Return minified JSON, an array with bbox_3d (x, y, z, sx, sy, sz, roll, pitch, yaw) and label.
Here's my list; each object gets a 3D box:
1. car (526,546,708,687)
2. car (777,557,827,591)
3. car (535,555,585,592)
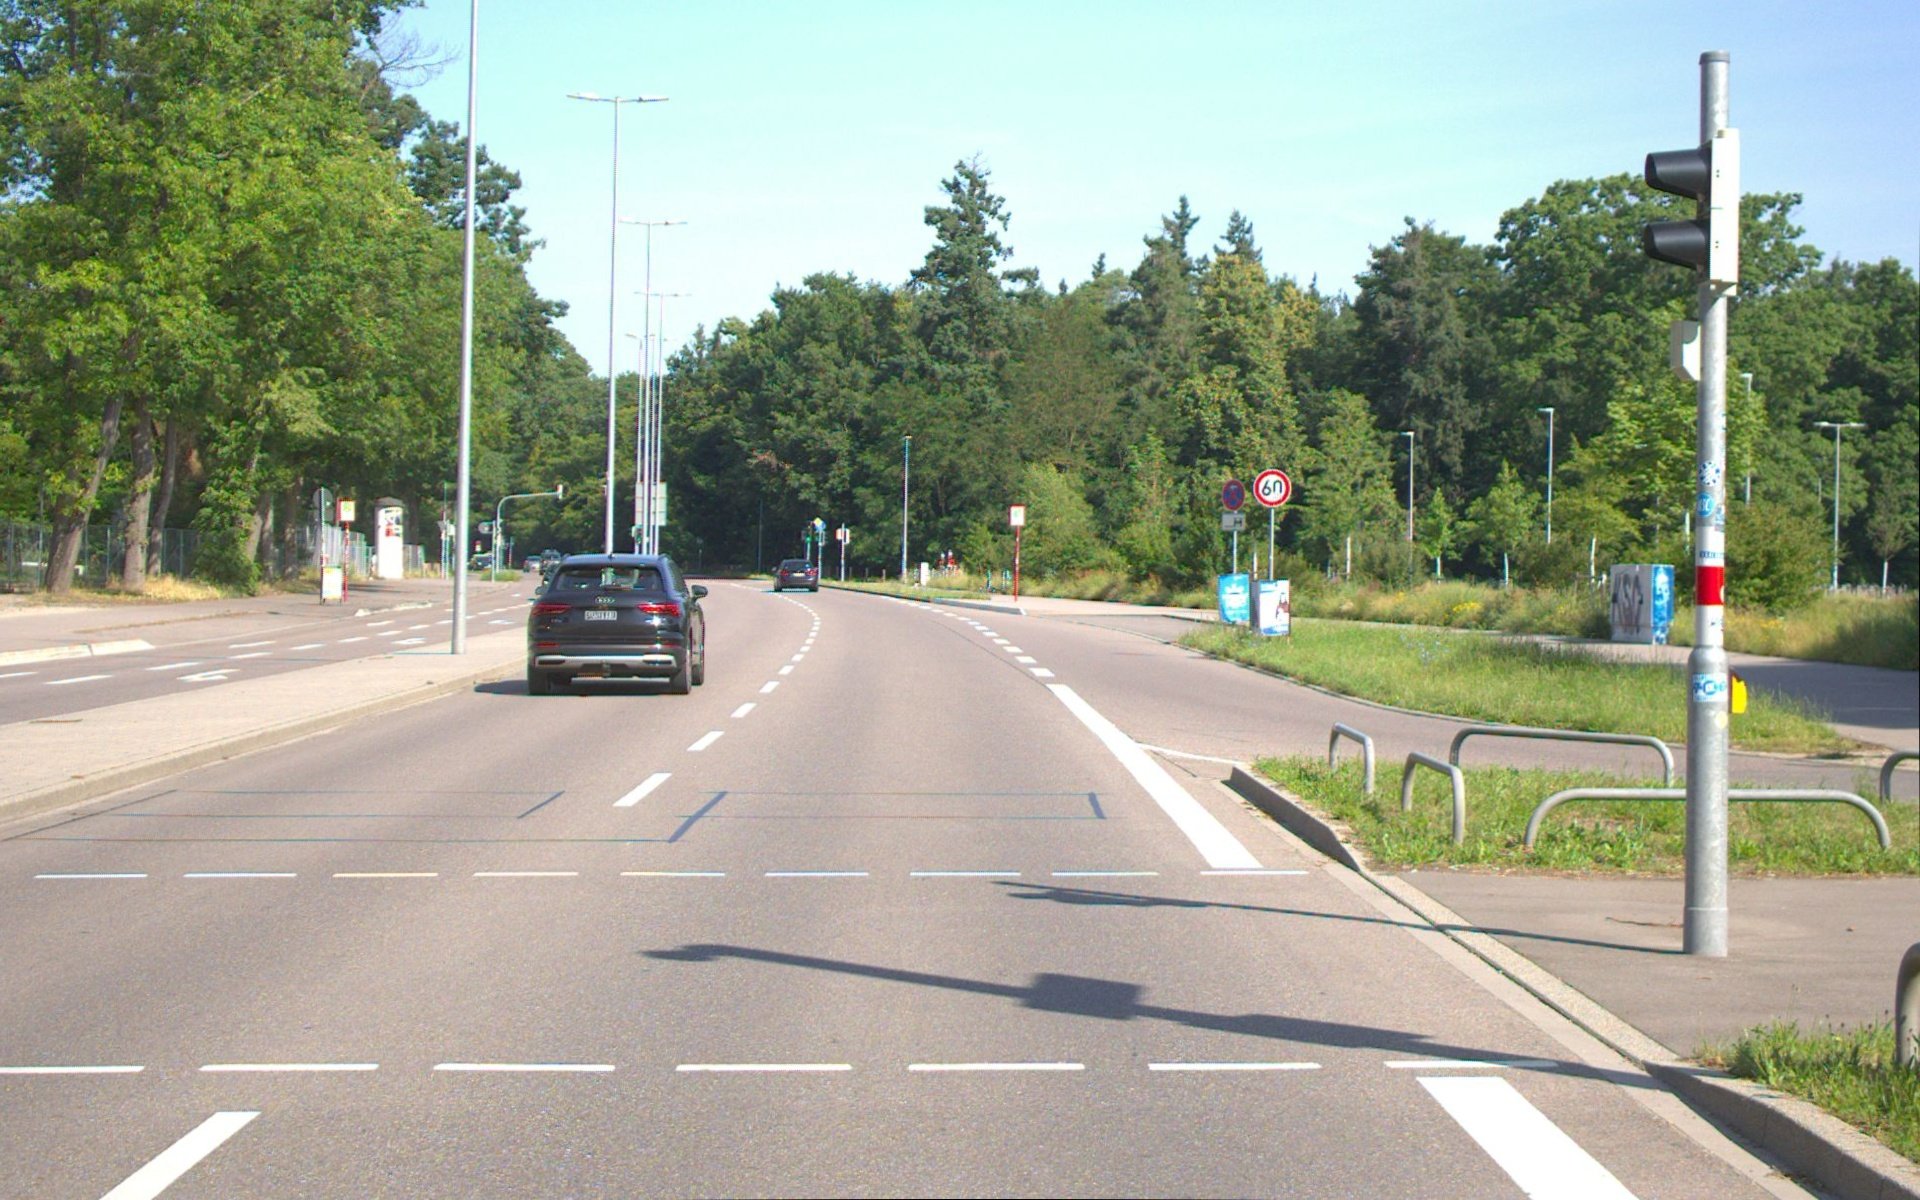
[{"bbox_3d":[-3.898,0.147,39.614,1.687,1.539,4.149,0,1,0],"label":"car"},{"bbox_3d":[-6.954,-1.162,150.717,1.940,1.415,4.294,1,1,-6],"label":"car"},{"bbox_3d":[-15.295,-1.019,131.610,1.810,1.383,4.162,-1,1,-6],"label":"car"}]
